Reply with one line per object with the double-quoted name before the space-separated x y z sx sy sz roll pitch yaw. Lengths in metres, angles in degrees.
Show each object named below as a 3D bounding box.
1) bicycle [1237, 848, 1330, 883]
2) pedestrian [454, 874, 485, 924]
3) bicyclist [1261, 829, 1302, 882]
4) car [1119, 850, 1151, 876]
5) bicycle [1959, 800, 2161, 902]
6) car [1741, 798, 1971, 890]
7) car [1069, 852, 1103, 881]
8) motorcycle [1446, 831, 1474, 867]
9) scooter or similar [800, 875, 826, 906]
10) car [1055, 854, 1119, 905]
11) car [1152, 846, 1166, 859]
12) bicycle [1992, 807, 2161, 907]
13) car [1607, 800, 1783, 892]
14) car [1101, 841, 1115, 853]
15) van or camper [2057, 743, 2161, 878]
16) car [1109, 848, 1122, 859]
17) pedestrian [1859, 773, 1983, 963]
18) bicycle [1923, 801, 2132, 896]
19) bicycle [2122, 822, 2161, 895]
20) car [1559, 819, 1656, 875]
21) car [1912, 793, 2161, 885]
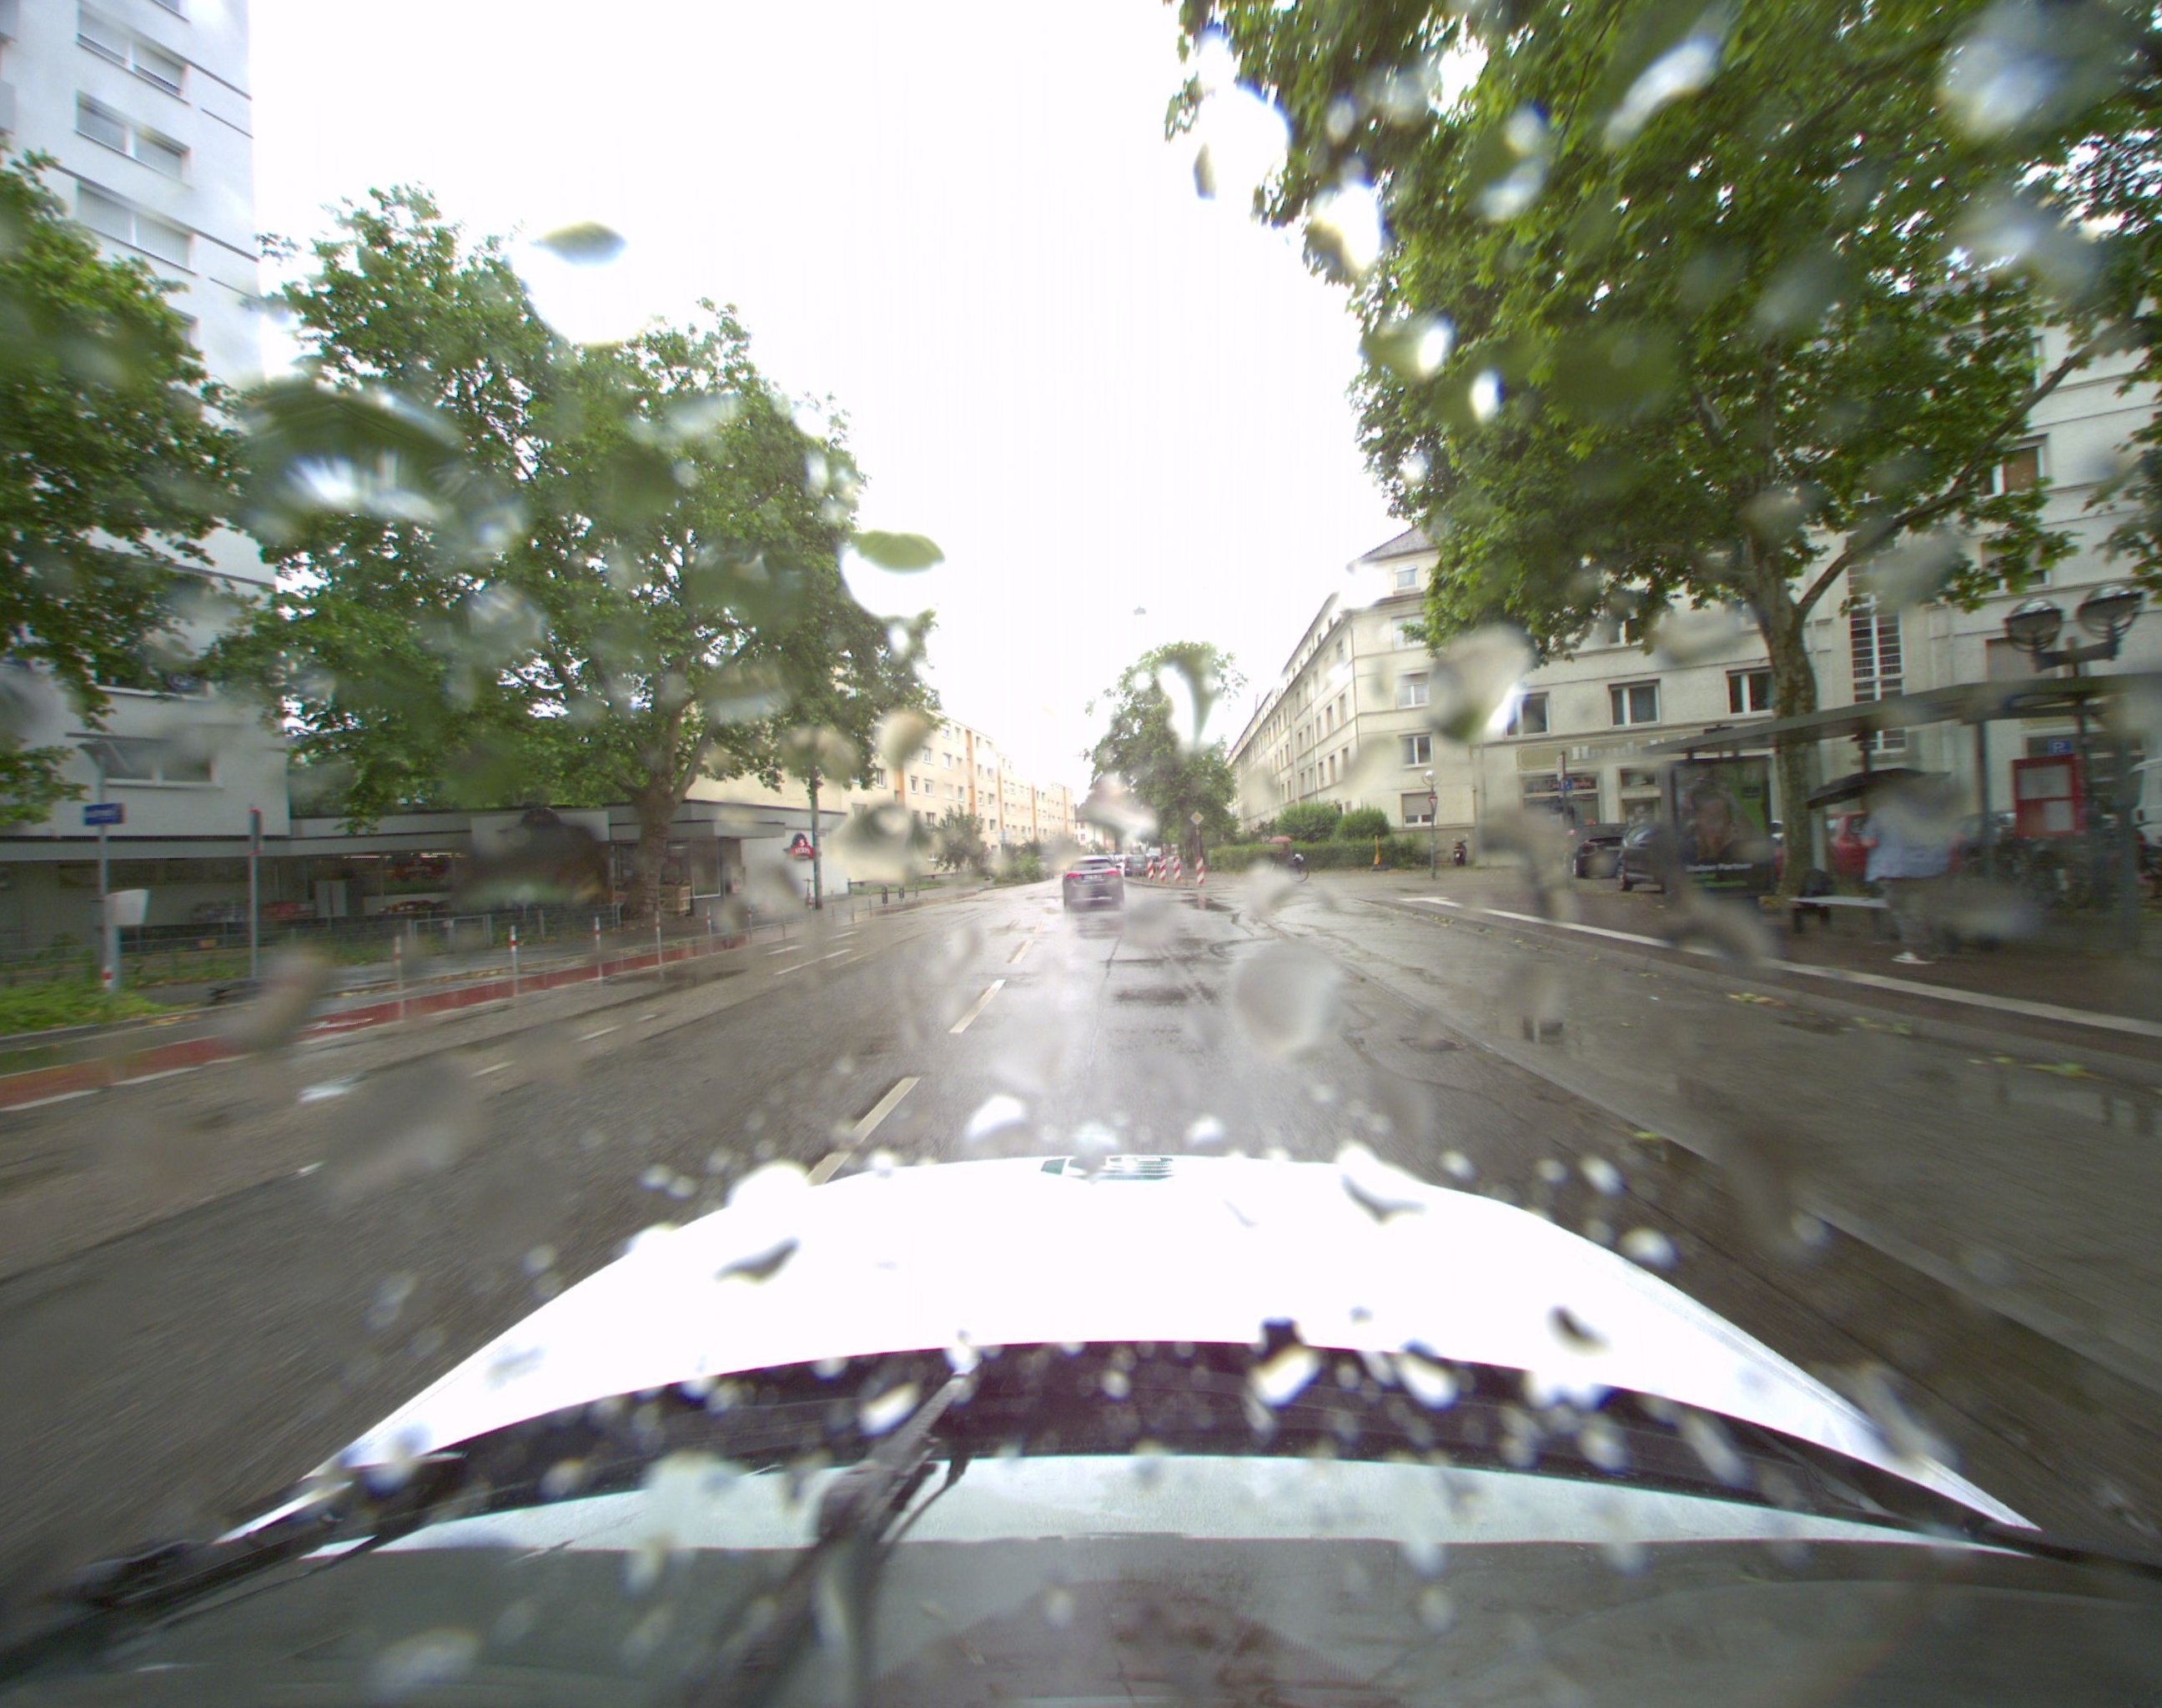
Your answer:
"bicycle" 7.487 0.416 30.059 3.213 1.112 1.048 -3 0 -17
"pedestrian" -20.765 1.524 27.671 0.570 1.629 0.638 -3 -1 -12
"bicyclist" 7.357 0.053 29.981 0.940 1.868 1.136 -3 0 -16
"car" 3.693 0.620 56.636 1.986 1.574 4.001 -3 -1 1
"bicycle" 13.387 -0.029 11.107 1.818 1.258 0.528 -3 0 23
"car" 14.179 -0.109 15.178 1.514 1.457 3.401 -3 -2 13
"car" 0.301 0.625 43.398 1.601 1.372 4.002 -4 0 2
"motorcycle" 16.024 -0.230 34.371 0.867 1.392 3.023 -4 0 27
"scooter or similar" -11.789 1.599 35.824 0.435 1.266 1.379 -3 -1 9
"car" 0.241 0.727 24.831 1.784 1.372 3.509 -2 0 2
"car" 11.962 -0.223 124.675 2.036 1.836 4.800 -3 0 6
"bicycle" 13.120 0.035 10.492 1.745 1.195 0.502 -3 0 23
"car" 12.124 -0.093 16.356 1.675 1.551 3.538 -3 -2 18
"car" 4.439 -1.068 132.259 1.880 1.836 4.007 -3 0 6
"van or camper" 19.125 -0.785 13.209 2.373 2.231 5.464 -4 -1 30
"car" 6.335 -0.072 149.095 1.880 1.836 4.007 -3 0 6
"pedestrian" 7.843 0.123 7.610 0.669 1.669 0.710 -2 -1 -42
"bicycle" 13.754 -0.062 11.915 1.818 1.258 0.714 -3 0 23
"bicycle" 15.638 0.004 10.783 2.226 0.968 0.588 -3 0 25
"car" 16.656 -0.232 26.010 1.975 1.628 4.657 0 1 25
"car" 16.369 -0.186 14.188 1.568 1.336 3.281 -4 -3 26
